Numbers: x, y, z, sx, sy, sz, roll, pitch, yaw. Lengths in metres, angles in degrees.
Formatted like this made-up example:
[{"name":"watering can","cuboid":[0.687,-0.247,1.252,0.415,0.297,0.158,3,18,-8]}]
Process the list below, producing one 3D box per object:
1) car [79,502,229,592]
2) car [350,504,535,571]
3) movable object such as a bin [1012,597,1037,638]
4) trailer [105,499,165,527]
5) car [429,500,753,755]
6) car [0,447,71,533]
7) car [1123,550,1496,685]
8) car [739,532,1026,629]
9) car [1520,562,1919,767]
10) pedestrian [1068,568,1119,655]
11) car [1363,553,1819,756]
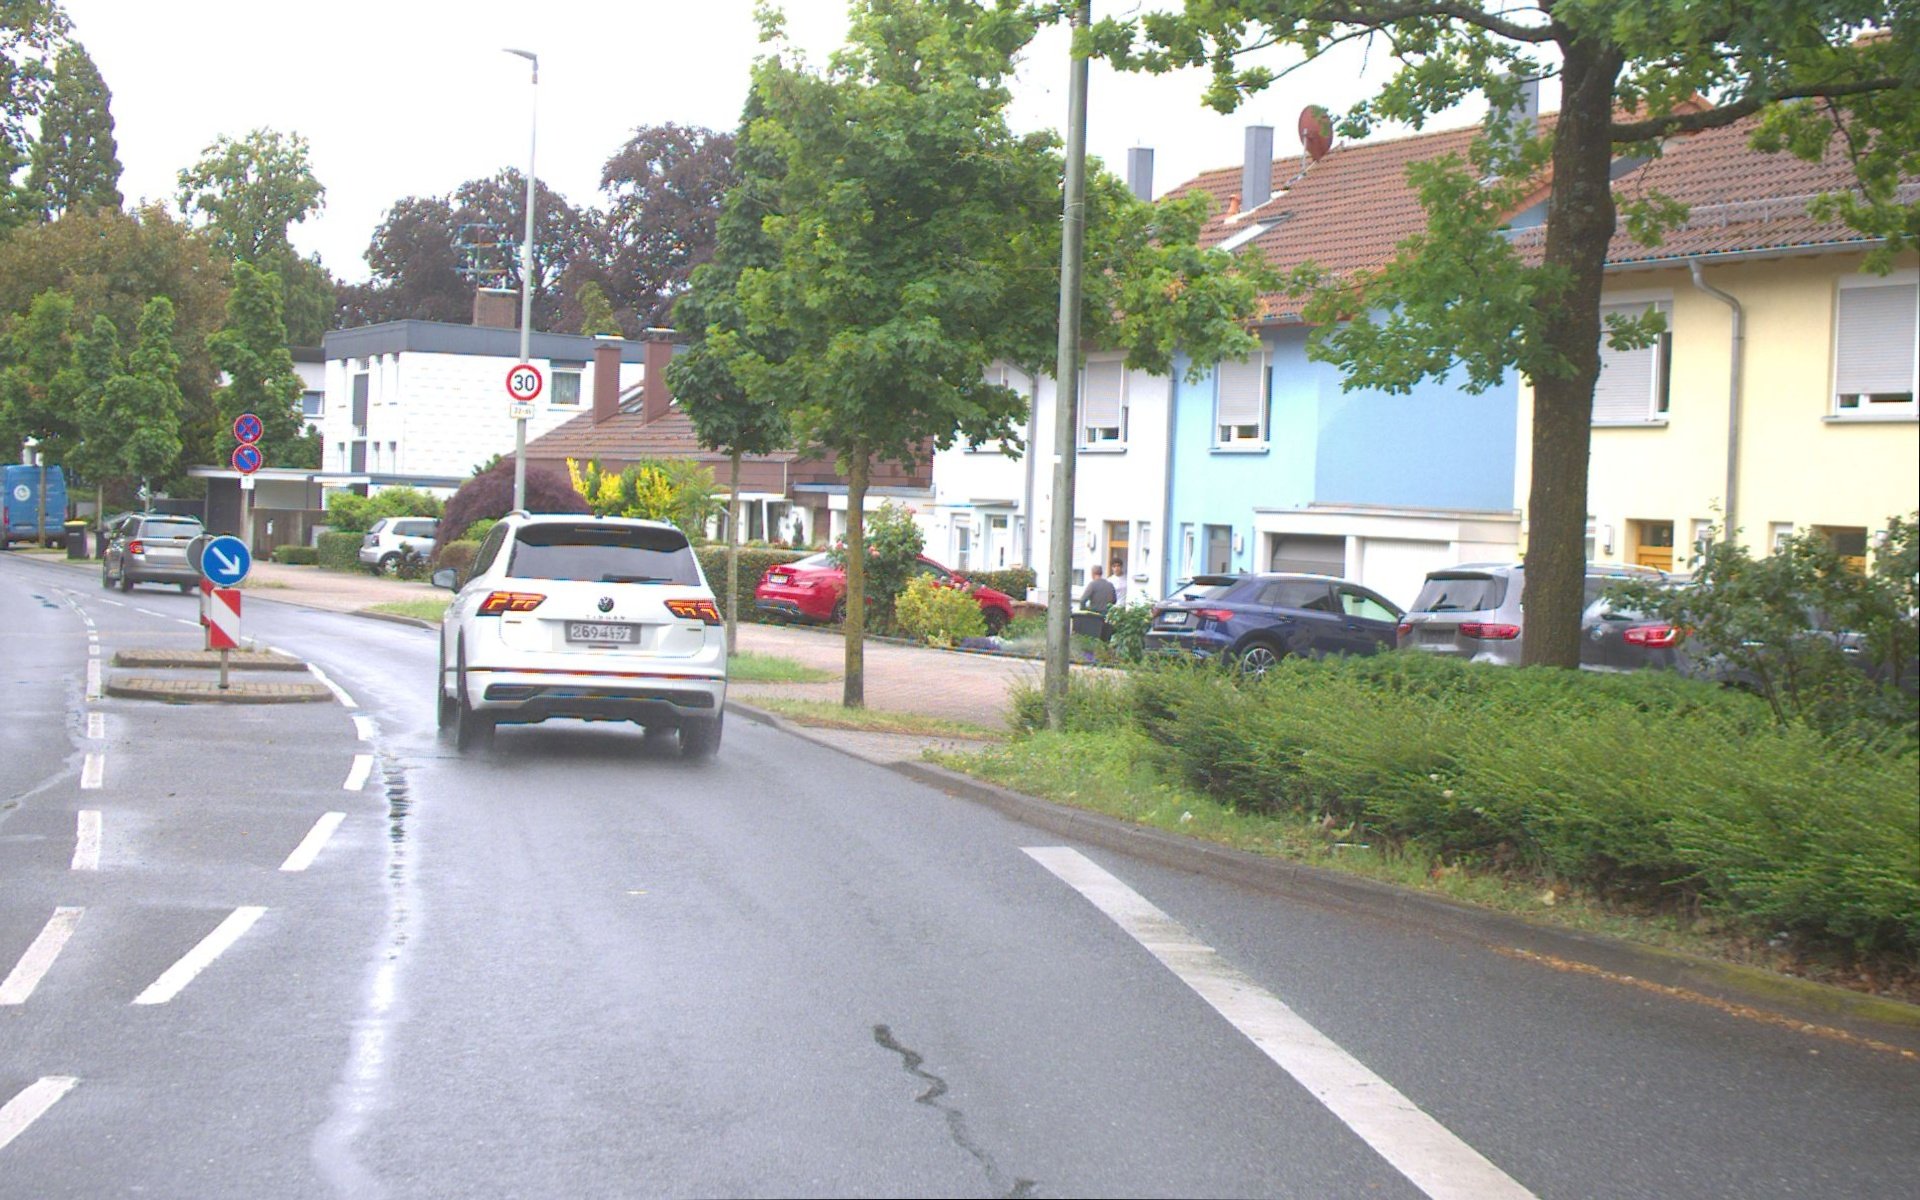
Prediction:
[{"name":"car","cuboid":[-15.100,-1.007,64.249,1.768,1.546,4.001,2,1,-27]},{"name":"car","cuboid":[-12.378,-1.501,82.242,3.986,1.437,1.848,2,1,-23]},{"name":"movable object such as a bin","cuboid":[1.007,0.274,53.635,0.255,0.624,0.325,2,1,-21]},{"name":"trailer","cuboid":[-31.321,-3.301,130.512,2.041,0.880,1.365,4,1,-19]},{"name":"car","cuboid":[-2.742,0.147,24.740,1.864,1.645,4.001,2,1,-12]},{"name":"car","cuboid":[-29.043,-3.444,106.845,1.993,2.577,5.635,0,2,-22]},{"name":"car","cuboid":[4.098,0.204,40.262,3.986,1.382,1.675,2,1,-24]},{"name":"car","cuboid":[-1.240,-0.309,55.480,4.303,1.256,1.679,3,1,-32]},{"name":"car","cuboid":[7.439,0.588,31.106,4.178,1.666,1.992,2,1,-21]},{"name":"pedestrian","cuboid":[2.122,0.183,54.785,0.535,1.346,0.529,2,1,-35]},{"name":"car","cuboid":[6.267,0.550,34.062,4.178,1.666,1.722,4,0,-29]}]
